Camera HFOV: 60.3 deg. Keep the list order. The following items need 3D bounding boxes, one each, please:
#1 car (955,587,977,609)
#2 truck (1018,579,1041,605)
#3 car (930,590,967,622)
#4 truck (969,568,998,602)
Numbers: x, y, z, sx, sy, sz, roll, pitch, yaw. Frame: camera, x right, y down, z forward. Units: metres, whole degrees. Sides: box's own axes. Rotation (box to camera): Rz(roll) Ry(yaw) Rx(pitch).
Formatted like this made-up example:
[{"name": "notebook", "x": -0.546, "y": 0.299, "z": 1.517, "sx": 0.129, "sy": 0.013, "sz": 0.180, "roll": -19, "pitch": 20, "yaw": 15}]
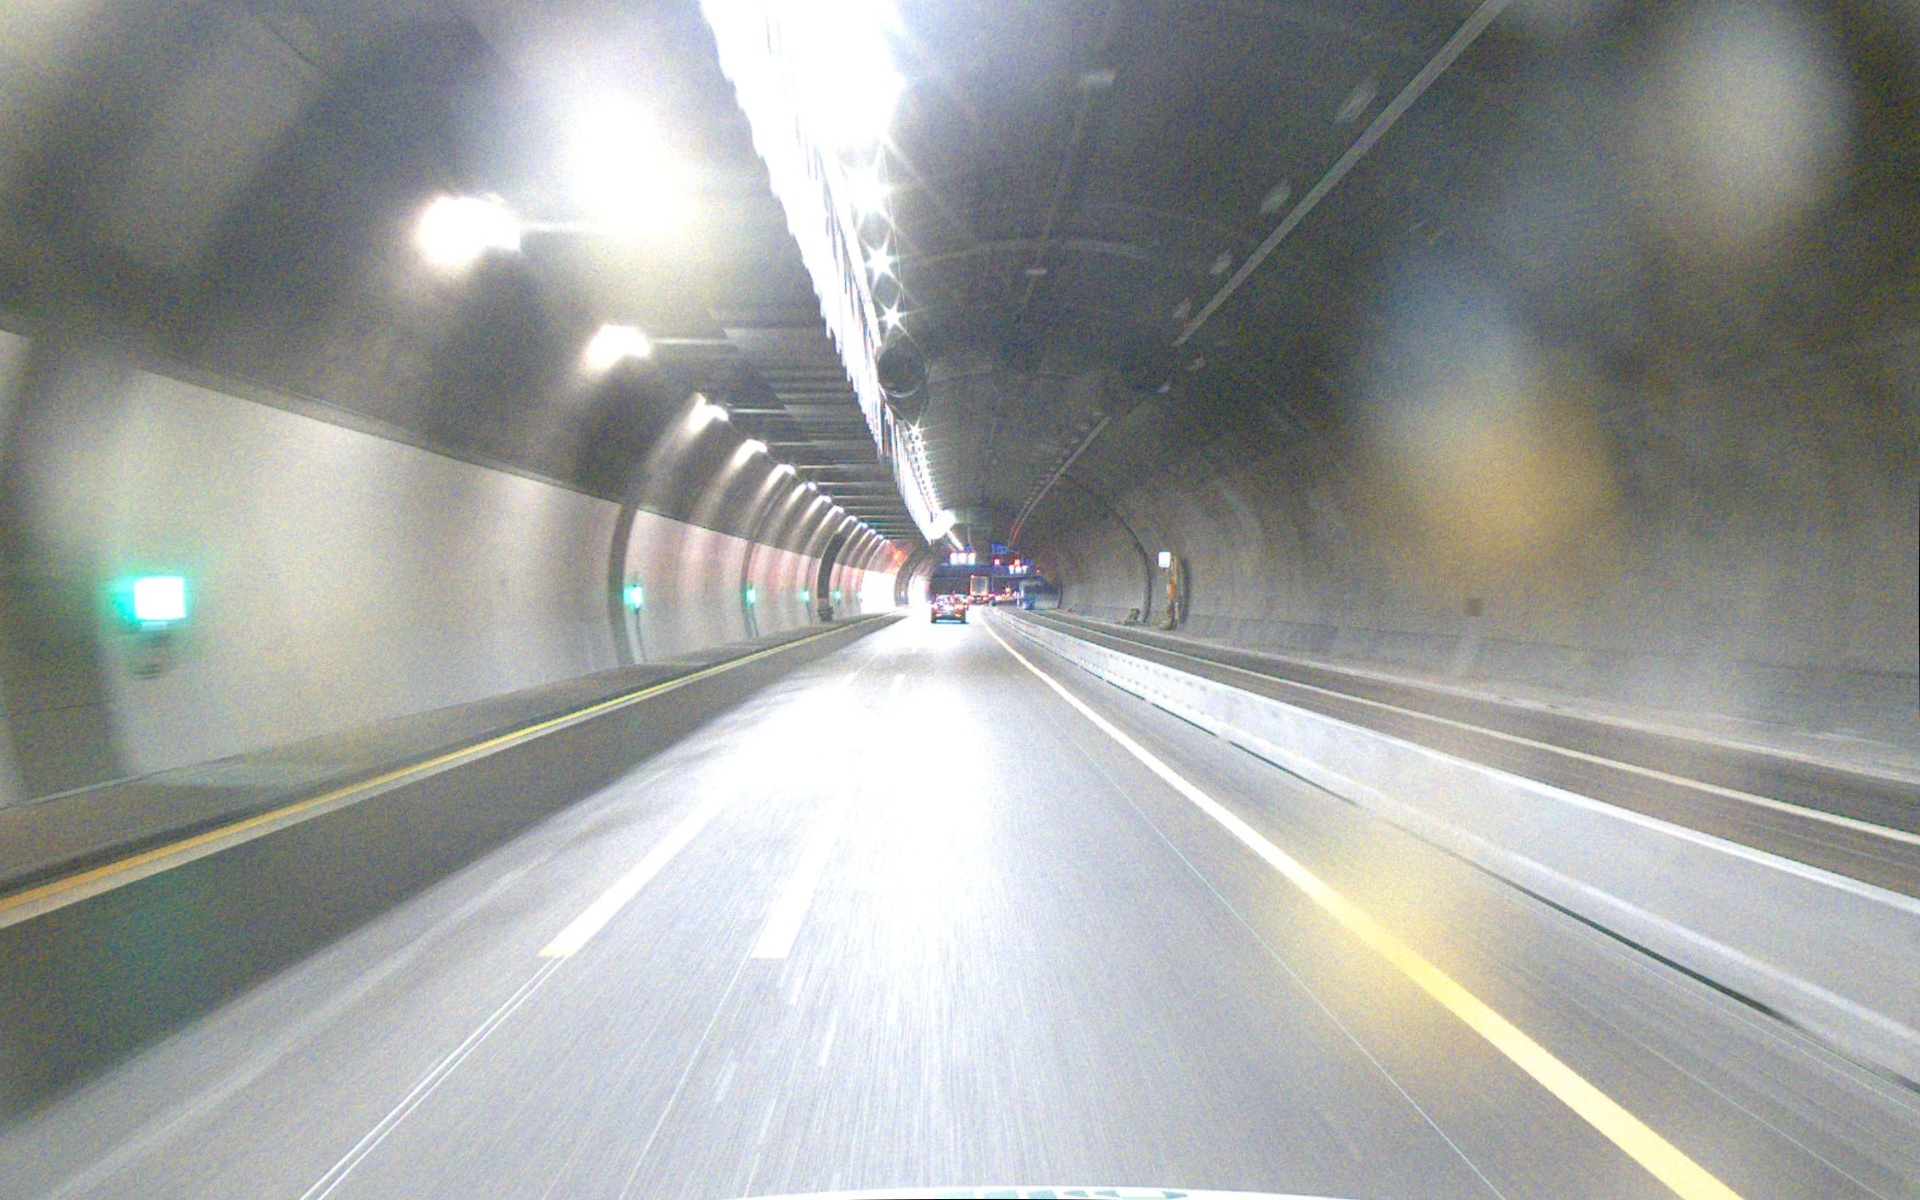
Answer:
[{"name": "car", "x": 0.514, "y": -0.207, "z": 154.133, "sx": 1.953, "sy": 2.049, "sz": 3.999, "roll": 1, "pitch": 0, "yaw": -1}, {"name": "truck", "x": 9.101, "y": -1.034, "z": 217.907, "sx": 2.832, "sy": 3.329, "sz": 8.402, "roll": 1, "pitch": 0, "yaw": 1}, {"name": "car", "x": -0.608, "y": 0.295, "z": 87.162, "sx": 1.849, "sy": 1.635, "sz": 3.999, "roll": 1, "pitch": 0, "yaw": -2}, {"name": "truck", "x": 3.718, "y": -2.328, "z": 258.252, "sx": 4.452, "sy": 5.074, "sz": 9.600, "roll": 1, "pitch": 0, "yaw": 1}]
